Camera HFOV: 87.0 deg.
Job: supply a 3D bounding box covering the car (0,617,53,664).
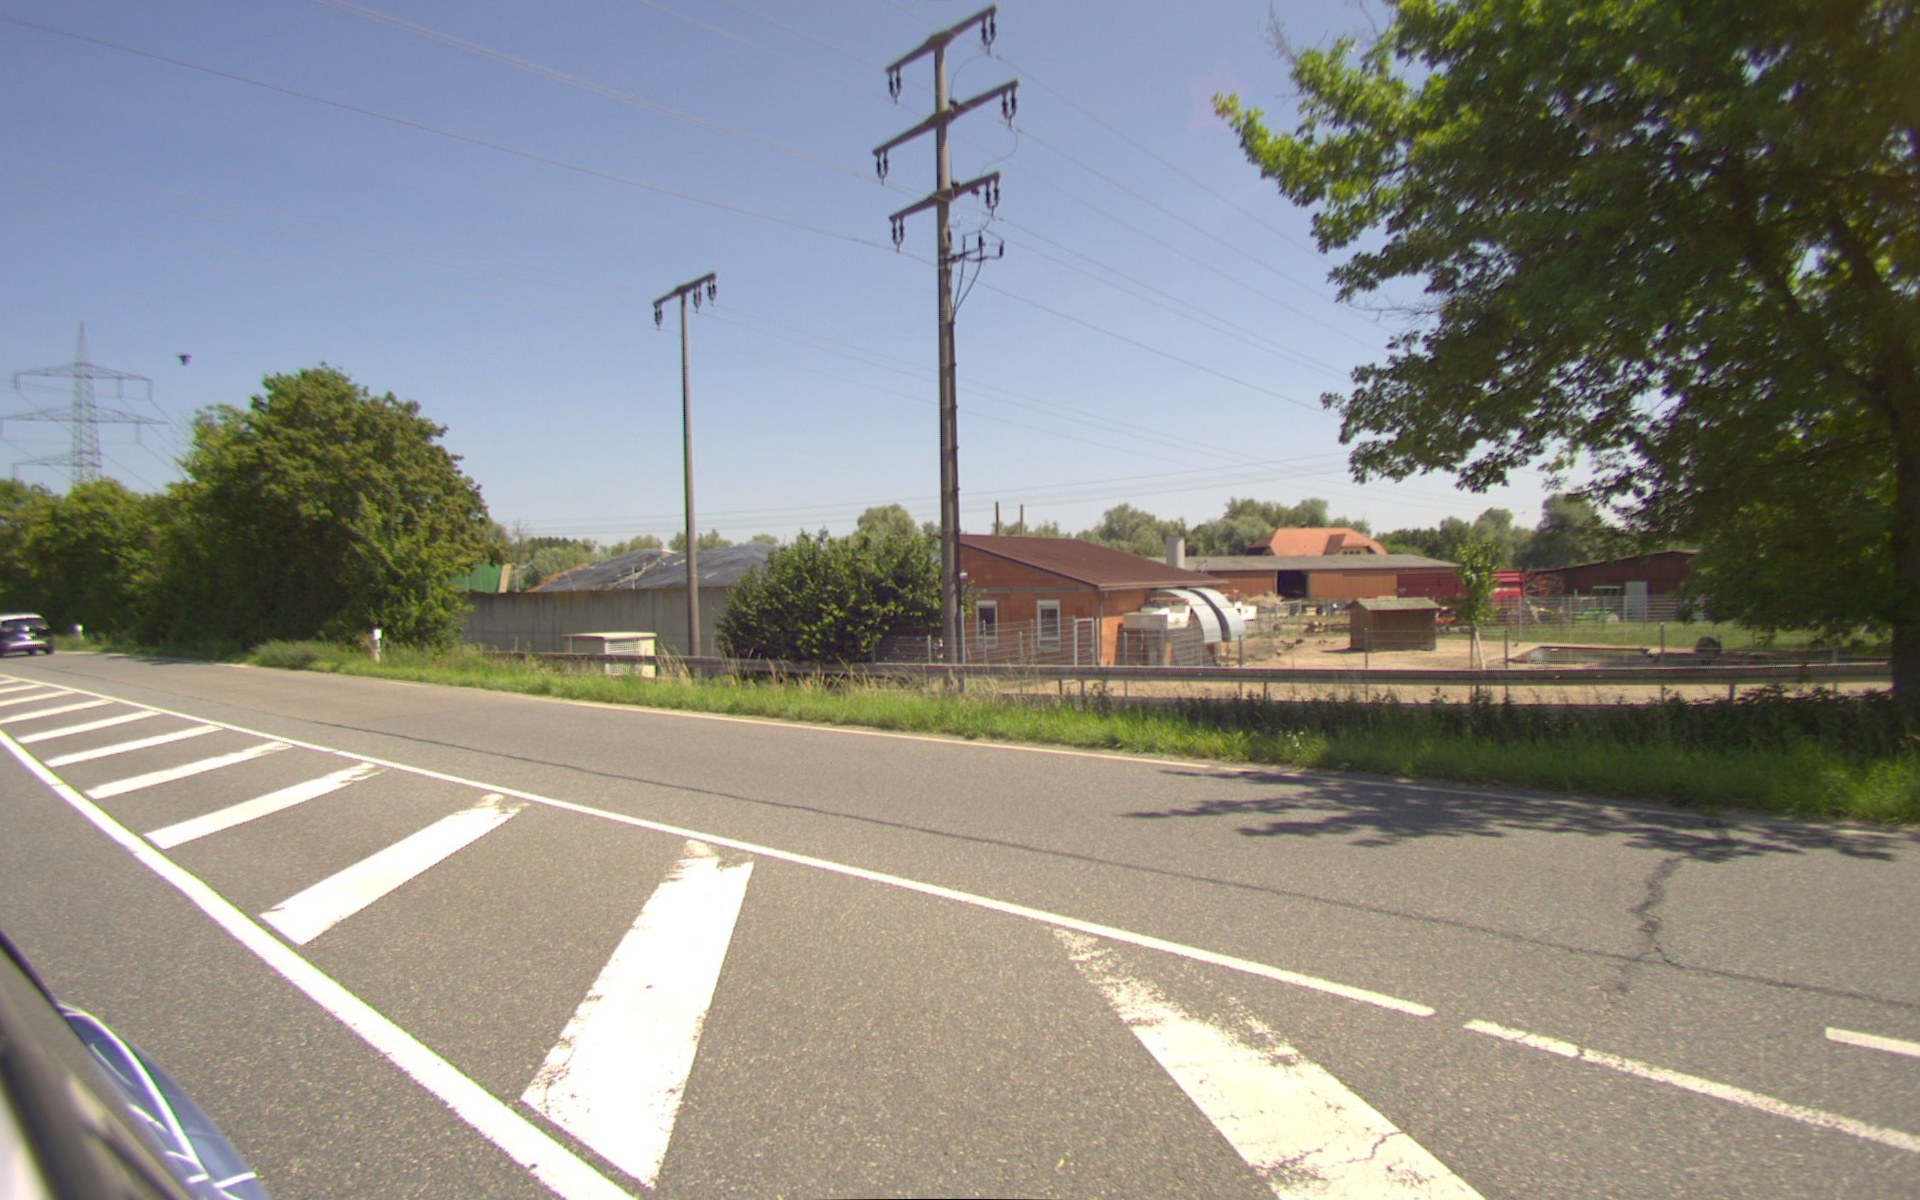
[{"bbox_3d":[-36.042,1.513,38.448,3.953,1.602,1.716,-1,2,39],"label":"car"}]
